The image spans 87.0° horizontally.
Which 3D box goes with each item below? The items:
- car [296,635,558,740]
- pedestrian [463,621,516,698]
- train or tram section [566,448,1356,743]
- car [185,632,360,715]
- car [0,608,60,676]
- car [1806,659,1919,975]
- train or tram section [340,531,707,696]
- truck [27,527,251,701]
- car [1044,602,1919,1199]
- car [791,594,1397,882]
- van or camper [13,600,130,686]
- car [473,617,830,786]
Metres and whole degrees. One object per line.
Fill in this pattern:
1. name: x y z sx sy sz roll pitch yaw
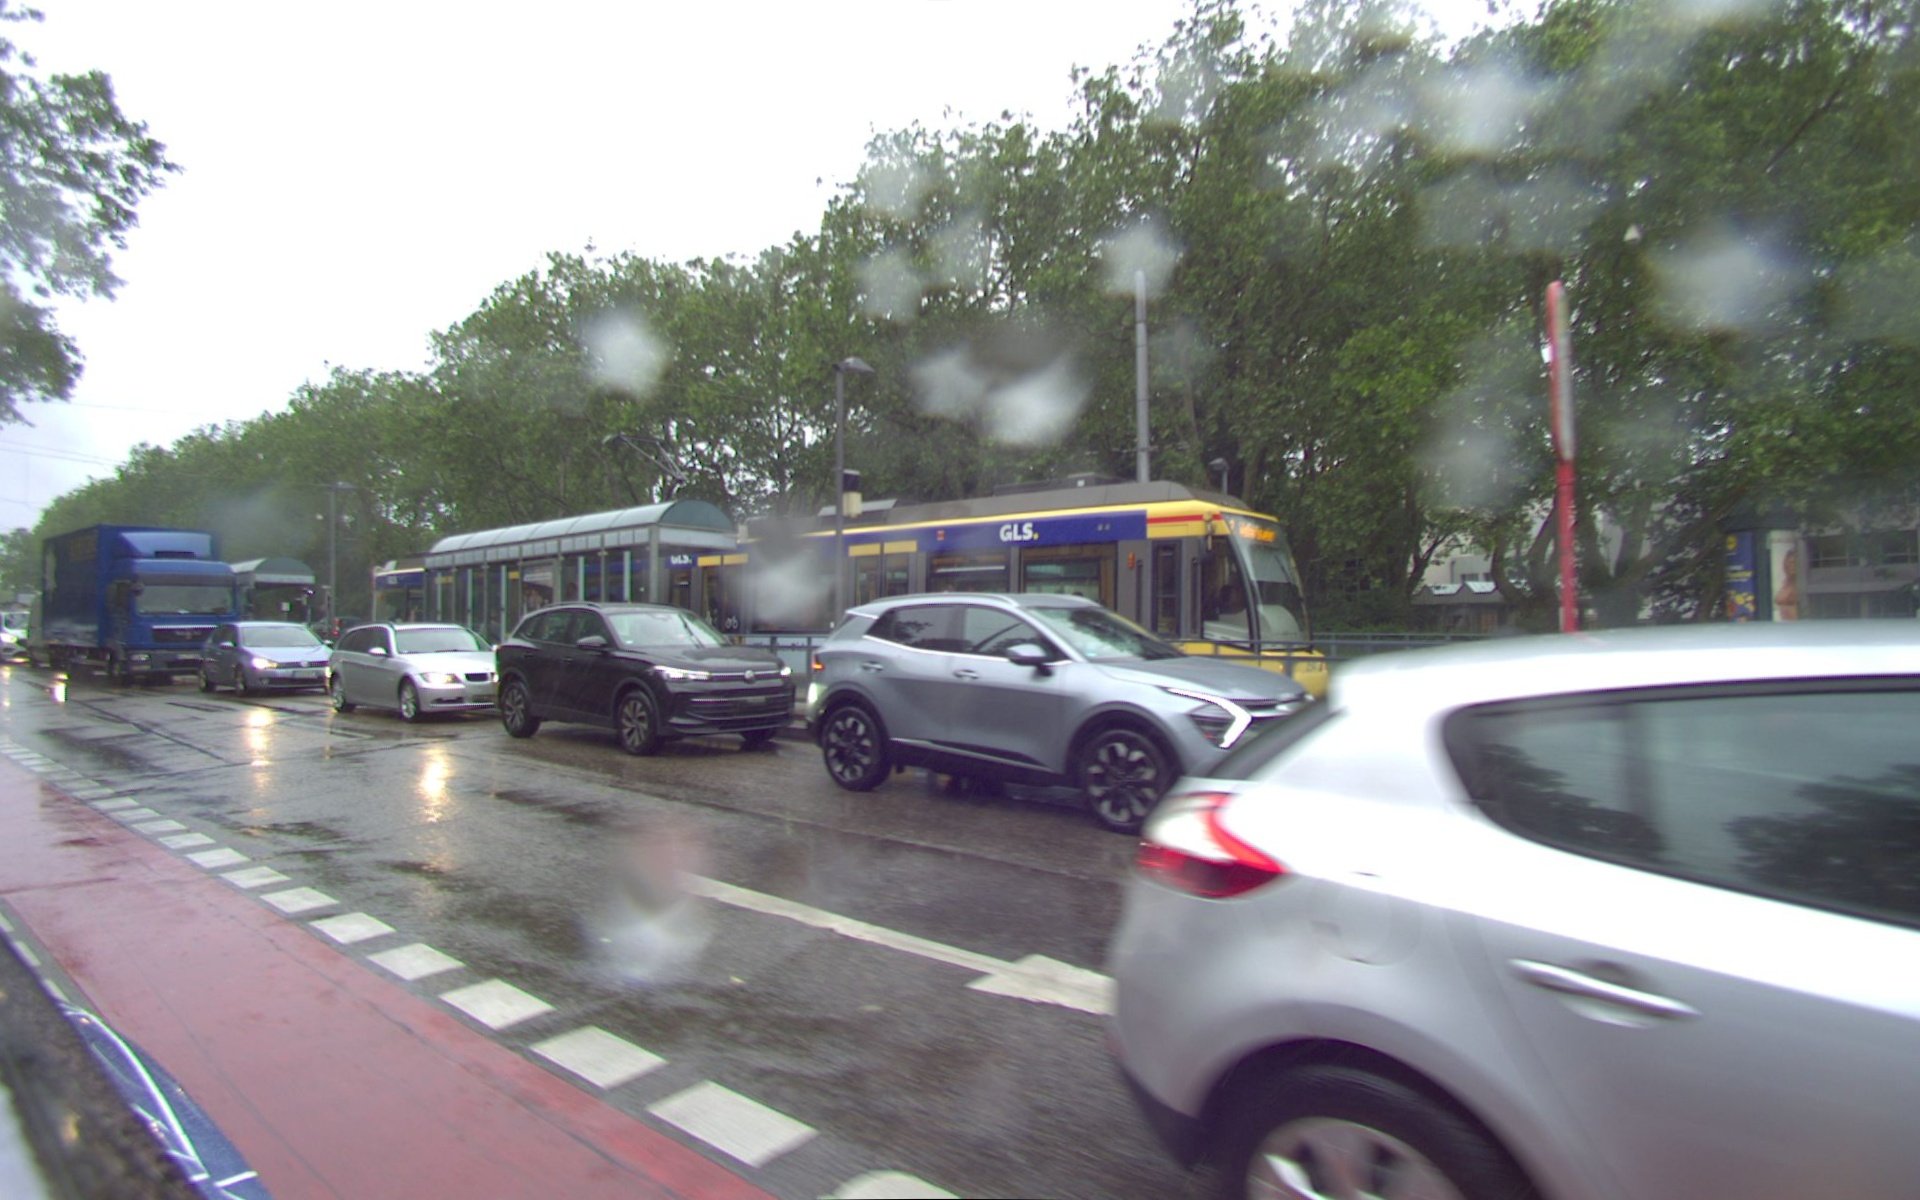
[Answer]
1. car: -8.457 1.260 15.893 4.601 1.405 1.974 -1 -3 39
2. pedestrian: -9.024 1.130 19.414 0.749 1.429 0.626 -2 0 39
3. train or tram section: -1.398 0.071 18.155 15.490 3.439 3.505 -1 0 40
4. car: -14.105 1.416 20.691 4.073 1.498 1.871 -1 -1 39
5. car: -36.638 1.601 39.250 5.726 2.445 1.972 -2 0 42
6. car: 5.443 0.826 3.288 4.083 1.126 1.448 -1 -1 40
7. train or tram section: -12.446 0.393 27.537 13.650 3.539 3.477 -1 0 41
8. truck: -22.020 0.451 26.863 9.800 3.919 2.513 -2 -3 39
9. car: 2.272 0.740 1.511 3.997 1.489 1.750 -1 -1 40
10. car: 0.822 0.849 7.981 4.453 1.636 1.894 -1 -2 42
11. van or camper: -29.894 1.386 33.967 6.426 2.590 1.973 -1 0 40
12. car: -3.741 1.042 11.955 4.315 1.633 1.974 -1 -2 39
